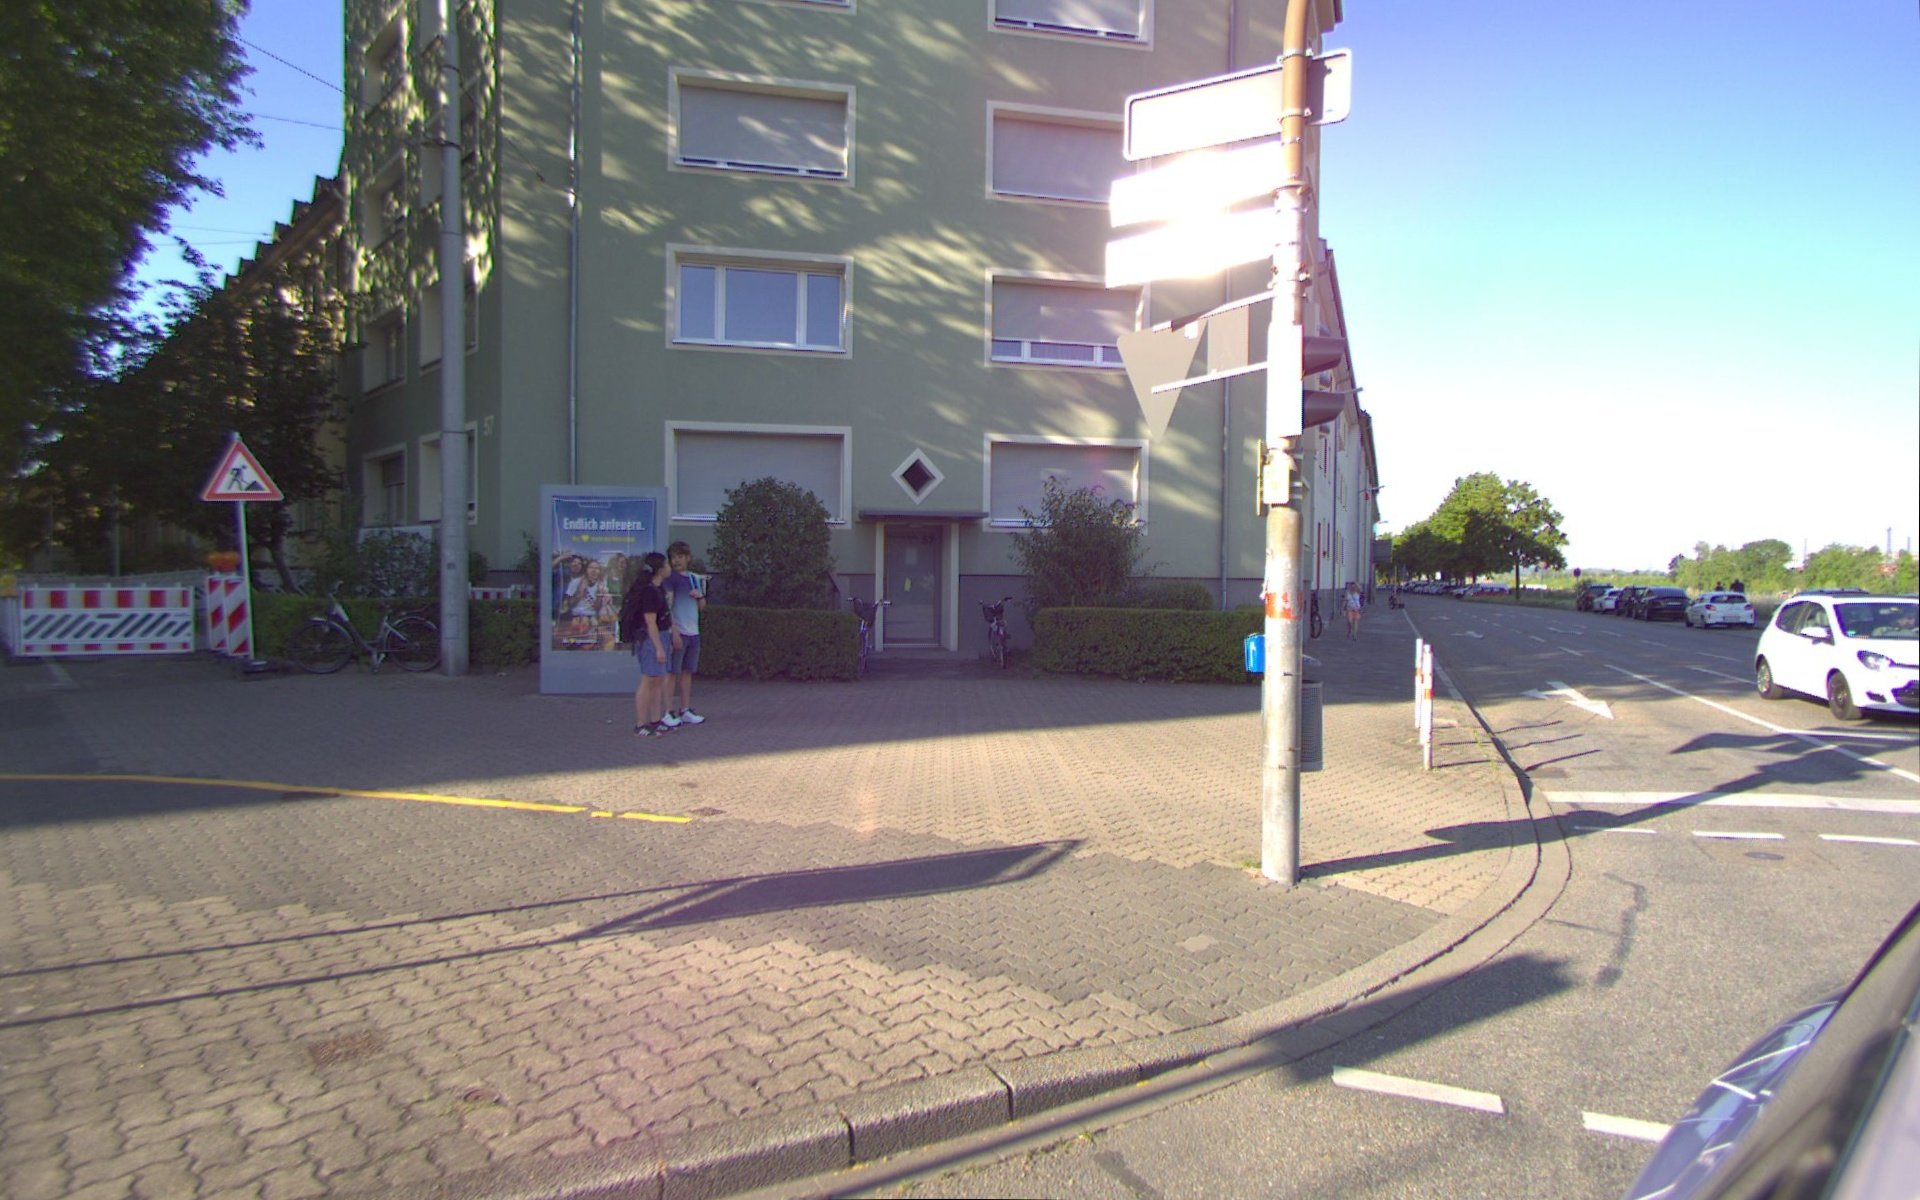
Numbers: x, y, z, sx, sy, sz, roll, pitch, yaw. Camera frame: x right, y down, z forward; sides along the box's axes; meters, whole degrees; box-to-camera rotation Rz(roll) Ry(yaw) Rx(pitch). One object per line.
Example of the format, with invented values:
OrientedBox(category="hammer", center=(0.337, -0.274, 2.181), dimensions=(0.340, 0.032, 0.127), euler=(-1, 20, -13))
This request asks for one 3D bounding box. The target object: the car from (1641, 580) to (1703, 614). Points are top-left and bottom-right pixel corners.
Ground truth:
OrientedBox(category="car", center=(34.163, -0.186, 48.670), dimensions=(1.807, 1.545, 4.250), euler=(1, 1, 27))

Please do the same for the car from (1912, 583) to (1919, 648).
OrientedBox(category="car", center=(23.217, 0.414, 22.491), dimensions=(1.726, 1.549, 3.789), euler=(1, 1, 22))

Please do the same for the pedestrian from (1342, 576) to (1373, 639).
OrientedBox(category="pedestrian", center=(11.269, 0.194, 28.689), dimensions=(0.779, 1.728, 0.943), euler=(1, 2, 23))

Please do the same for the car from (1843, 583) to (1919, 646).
OrientedBox(category="car", center=(24.899, 0.325, 26.431), dimensions=(1.646, 1.549, 3.553), euler=(1, 1, 22))

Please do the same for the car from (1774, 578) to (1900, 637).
OrientedBox(category="car", center=(26.498, 0.164, 30.736), dimensions=(1.646, 1.680, 3.976), euler=(1, 1, 22))

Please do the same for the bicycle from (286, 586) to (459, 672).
OrientedBox(category="bicycle", center=(-7.461, 0.360, 12.896), dimensions=(1.897, 1.070, 0.521), euler=(0, 1, -1))

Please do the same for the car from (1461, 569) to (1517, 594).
OrientedBox(category="car", center=(58.459, -2.003, 111.952), dimensions=(5.266, 2.442, 2.249), euler=(-4, 0, 24))

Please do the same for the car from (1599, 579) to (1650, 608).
OrientedBox(category="car", center=(38.525, -0.413, 58.777), dimensions=(1.805, 1.594, 4.185), euler=(1, 1, 24))

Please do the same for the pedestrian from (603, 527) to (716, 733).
OrientedBox(category="pedestrian", center=(-2.679, 0.252, 9.070), dimensions=(0.781, 1.772, 0.692), euler=(0, 1, 5))

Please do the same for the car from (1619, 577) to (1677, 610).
OrientedBox(category="car", center=(36.522, -0.383, 53.813), dimensions=(1.805, 1.658, 4.185), euler=(1, 1, 24))

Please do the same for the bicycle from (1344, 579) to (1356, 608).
OrientedBox(category="bicycle", center=(20.027, -0.345, 51.981), dimensions=(0.511, 1.429, 1.862), euler=(0, 1, 19))

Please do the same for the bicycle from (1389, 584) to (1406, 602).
OrientedBox(category="bicycle", center=(28.191, -0.440, 65.165), dimensions=(0.641, 1.111, 2.193), euler=(0, 1, 14))

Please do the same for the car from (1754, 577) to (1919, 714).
OrientedBox(category="car", center=(11.612, 0.468, 12.608), dimensions=(1.686, 1.487, 3.748), euler=(1, 1, 22))

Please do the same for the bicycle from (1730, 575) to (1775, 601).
OrientedBox(category="bicycle", center=(36.830, -0.575, 47.067), dimensions=(0.929, 1.203, 2.465), euler=(0, 1, 21))

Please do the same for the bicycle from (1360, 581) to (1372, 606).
OrientedBox(category="bicycle", center=(22.552, -0.357, 56.219), dimensions=(0.512, 1.342, 2.192), euler=(0, 1, 24))

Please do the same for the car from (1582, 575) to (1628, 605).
OrientedBox(category="car", center=(40.836, -0.663, 64.142), dimensions=(1.872, 1.798, 4.185), euler=(1, 1, 24))

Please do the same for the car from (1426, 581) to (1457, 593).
OrientedBox(category="car", center=(72.508, -1.910, 152.442), dimensions=(3.953, 1.739, 1.986), euler=(1, 1, 22))

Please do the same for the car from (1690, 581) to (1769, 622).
OrientedBox(category="car", center=(30.711, 0.019, 40.504), dimensions=(1.689, 1.545, 3.555), euler=(1, 1, 23))

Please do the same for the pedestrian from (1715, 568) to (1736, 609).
OrientedBox(category="pedestrian", center=(37.925, -0.573, 50.142), dimensions=(0.608, 2.039, 0.725), euler=(0, 1, 21))

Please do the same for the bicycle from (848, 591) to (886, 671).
OrientedBox(category="bicycle", center=(-1.355, 0.421, 14.918), dimensions=(0.511, 1.070, 1.936), euler=(0, 1, -4))

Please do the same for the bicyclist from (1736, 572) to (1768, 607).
OrientedBox(category="bicyclist", center=(36.801, -0.505, 47.032), dimensions=(0.856, 1.616, 1.138), euler=(0, 1, 20))

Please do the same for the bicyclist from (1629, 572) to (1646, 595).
OrientedBox(category="bicyclist", center=(46.457, -1.141, 69.419), dimensions=(0.761, 1.616, 1.136), euler=(0, 1, 25))

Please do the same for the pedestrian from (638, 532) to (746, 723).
OrientedBox(category="pedestrian", center=(-2.582, 0.247, 9.793), dimensions=(0.783, 1.772, 0.691), euler=(0, 1, 13))

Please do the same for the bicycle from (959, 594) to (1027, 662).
OrientedBox(category="bicycle", center=(0.512, 0.430, 16.570), dimensions=(0.632, 1.015, 1.852), euler=(0, 1, -14))

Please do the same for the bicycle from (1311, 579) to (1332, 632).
OrientedBox(category="bicycle", center=(10.060, 0.128, 28.178), dimensions=(0.511, 1.429, 1.862), euler=(0, 1, 19))
